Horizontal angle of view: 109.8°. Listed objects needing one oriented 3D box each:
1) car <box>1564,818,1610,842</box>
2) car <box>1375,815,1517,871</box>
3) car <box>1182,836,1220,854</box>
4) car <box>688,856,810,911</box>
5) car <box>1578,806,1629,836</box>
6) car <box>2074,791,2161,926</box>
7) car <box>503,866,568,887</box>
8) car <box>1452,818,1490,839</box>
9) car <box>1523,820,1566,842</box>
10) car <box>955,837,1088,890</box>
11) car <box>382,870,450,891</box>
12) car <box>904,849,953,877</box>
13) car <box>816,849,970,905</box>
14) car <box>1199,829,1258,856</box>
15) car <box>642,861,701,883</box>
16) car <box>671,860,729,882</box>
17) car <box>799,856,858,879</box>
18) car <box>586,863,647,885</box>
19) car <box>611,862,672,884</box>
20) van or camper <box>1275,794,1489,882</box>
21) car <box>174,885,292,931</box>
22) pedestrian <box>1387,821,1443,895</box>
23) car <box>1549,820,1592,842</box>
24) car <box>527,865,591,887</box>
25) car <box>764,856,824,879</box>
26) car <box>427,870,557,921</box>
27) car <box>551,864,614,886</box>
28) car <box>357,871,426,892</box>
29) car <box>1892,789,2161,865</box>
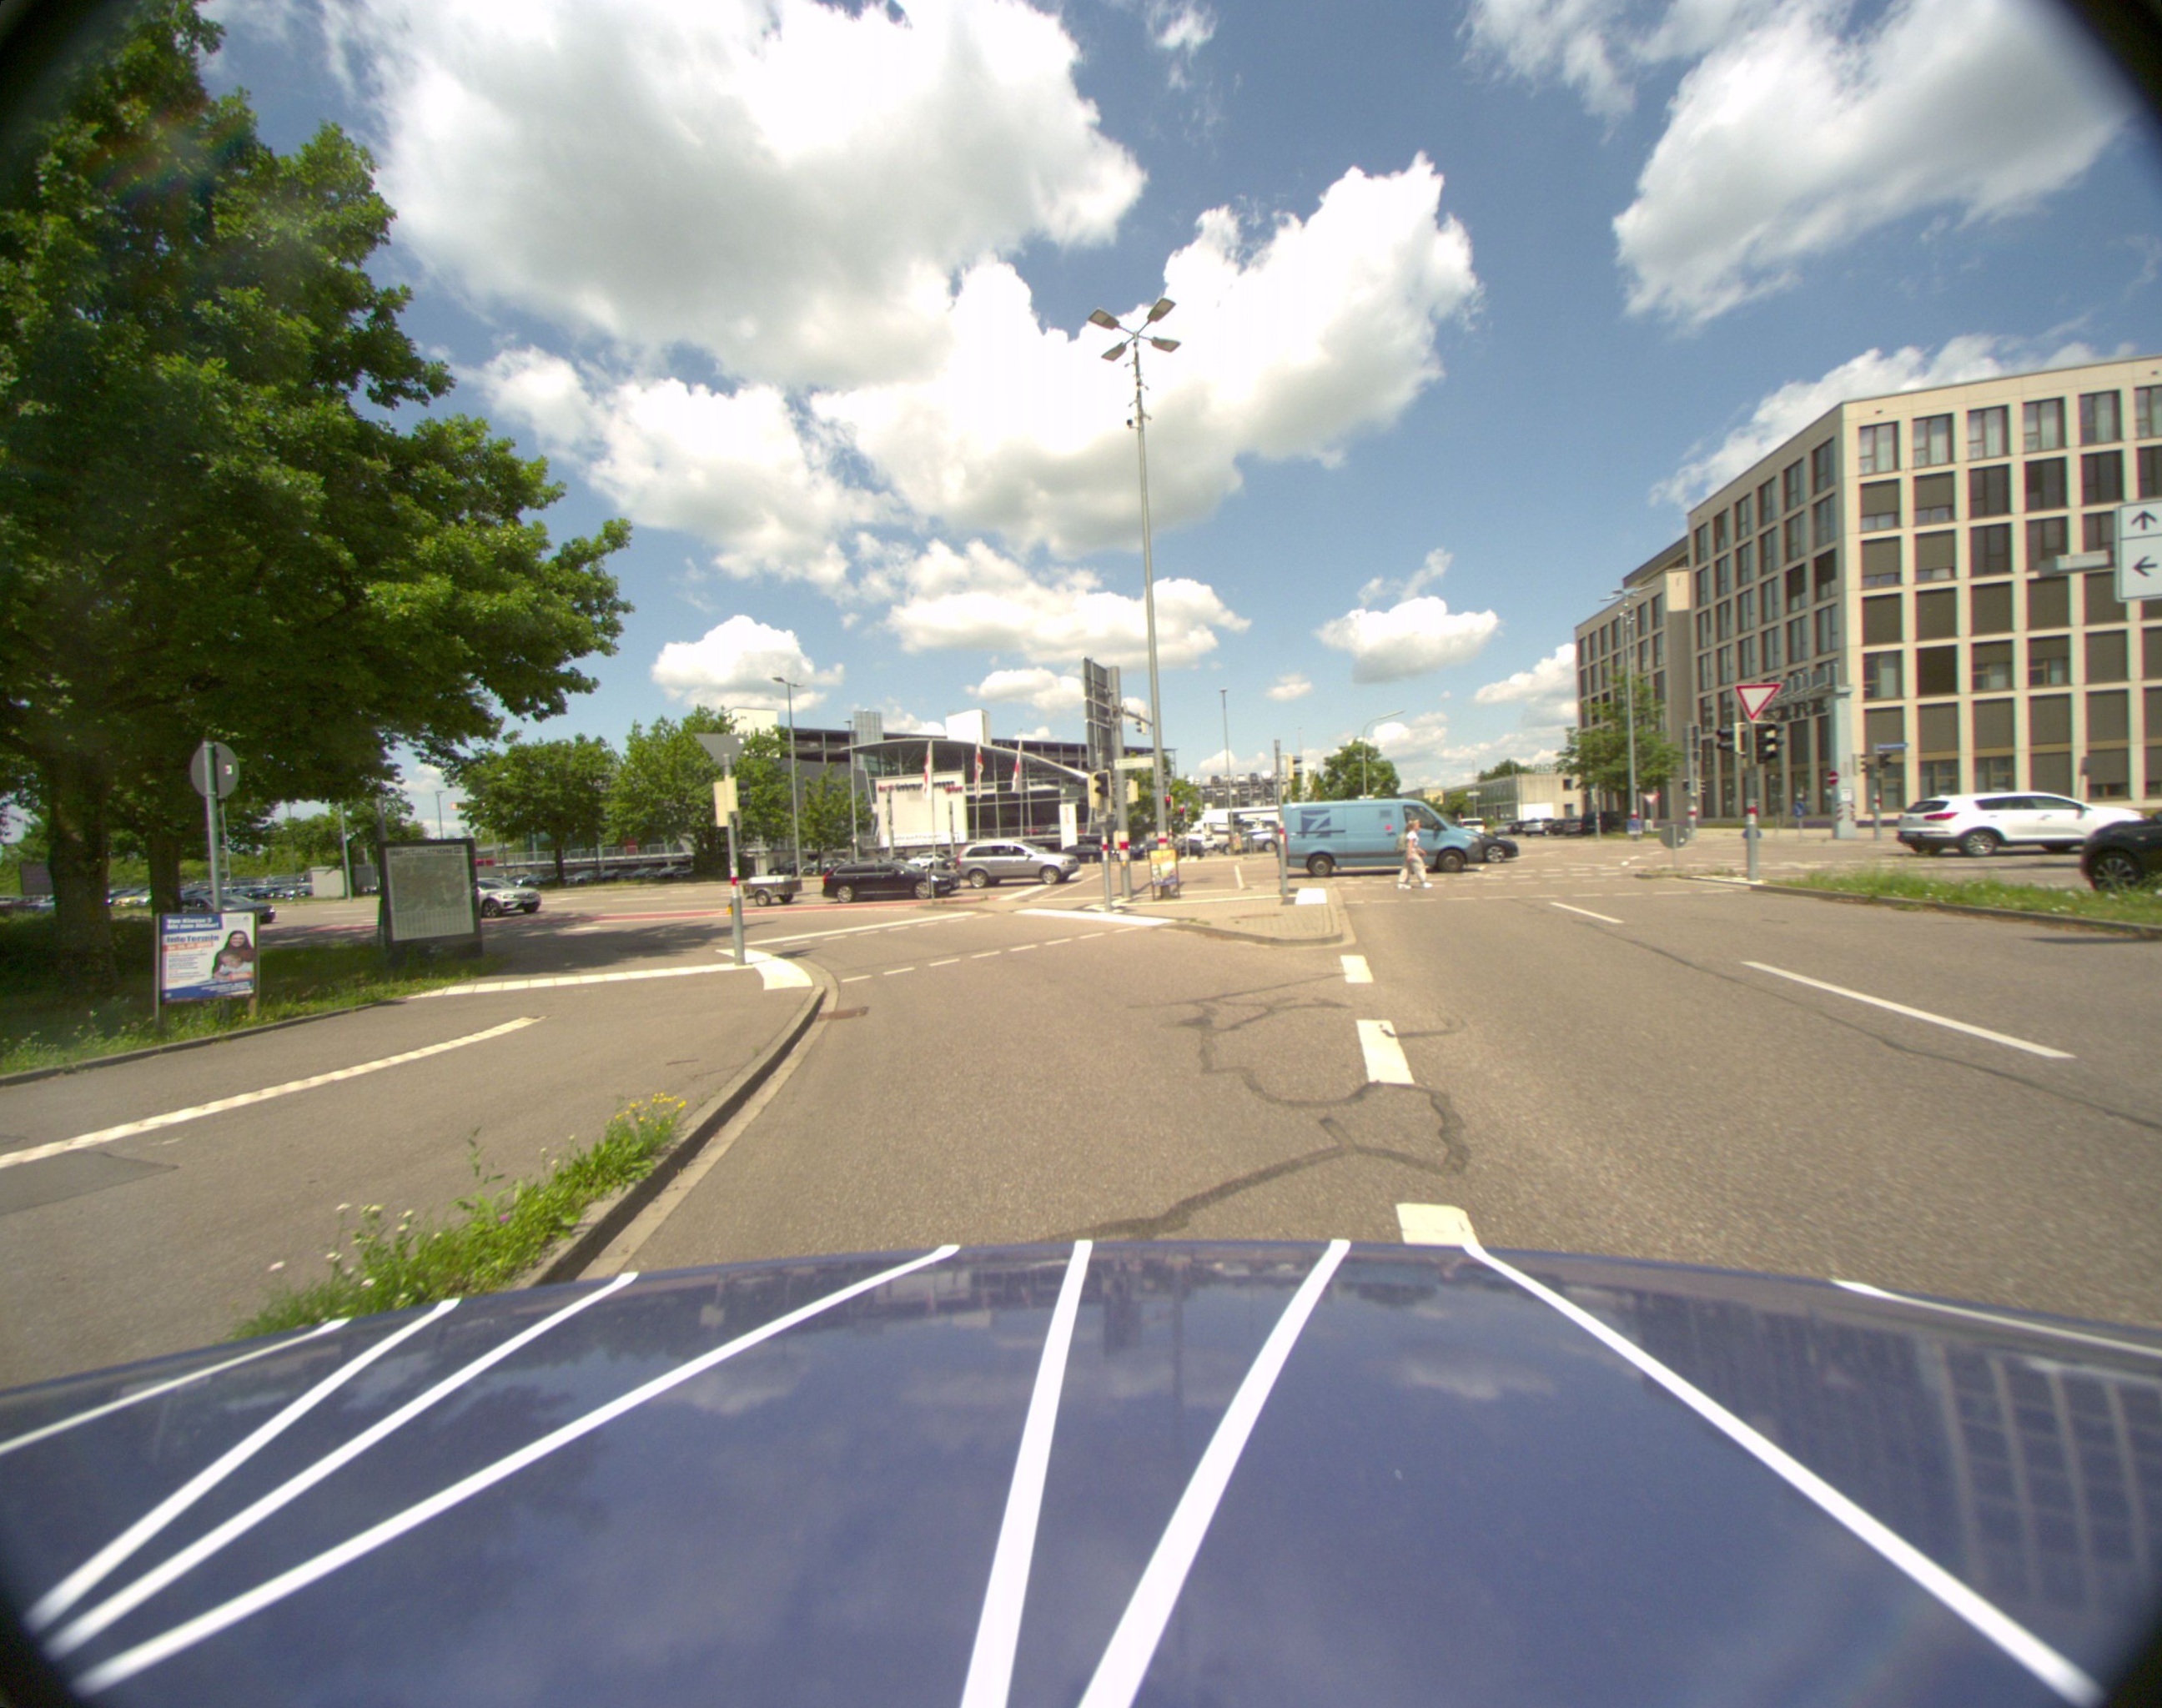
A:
[{"bbox_3d":[41.608,-1.976,62.466,4.189,1.718,1.858,-4,2,-38],"label":"car"},{"bbox_3d":[12.604,-0.390,26.526,4.174,1.718,1.865,-2,2,17],"label":"car"},{"bbox_3d":[13.018,-0.959,82.135,1.994,1.772,4.007,-1,1,45],"label":"car"},{"bbox_3d":[-12.333,1.087,28.306,3.753,1.719,1.674,-3,3,13],"label":"car"},{"bbox_3d":[40.369,-2.551,58.704,4.030,2.080,2.137,-4,2,-39],"label":"car"},{"bbox_3d":[13.620,0.042,7.990,1.794,1.635,4.175,-2,0,18],"label":"car"},{"bbox_3d":[-45.030,1.845,62.827,1.794,1.543,4.004,-2,1,16],"label":"car"},{"bbox_3d":[34.468,-2.297,67.290,2.287,1.709,4.487,-2,2,18],"label":"car"},{"bbox_3d":[41.752,-2.075,68.406,4.189,1.718,1.858,-4,2,-38],"label":"car"},{"bbox_3d":[-2.291,0.360,29.686,4.747,1.718,1.864,-3,2,13],"label":"car"},{"bbox_3d":[-57.305,2.286,65.593,1.794,1.543,4.004,-2,1,16],"label":"car"},{"bbox_3d":[-10.873,0.617,54.413,1.860,1.718,3.763,-3,1,15],"label":"car"},{"bbox_3d":[-6.621,0.794,26.957,4.814,1.571,2.001,-4,2,13],"label":"car"},{"bbox_3d":[10.589,-0.820,54.566,3.993,1.772,2.002,-2,1,14],"label":"car"},{"bbox_3d":[-32.383,1.388,60.208,1.794,1.543,4.004,-2,1,16],"label":"car"},{"bbox_3d":[-29.755,1.295,59.461,1.794,1.543,4.004,-2,1,16],"label":"car"},{"bbox_3d":[-18.573,0.978,56.099,1.793,1.543,4.006,-2,1,26],"label":"car"},{"bbox_3d":[-37.355,1.568,61.222,1.794,1.543,4.004,-2,1,16],"label":"car"},{"bbox_3d":[-35.148,1.487,60.883,1.794,1.543,4.004,-2,1,16],"label":"car"},{"bbox_3d":[9.042,-0.473,23.384,5.840,2.368,2.001,-2,2,13],"label":"van or camper"},{"bbox_3d":[-38.470,2.446,34.518,3.753,1.719,1.864,-3,3,13],"label":"car"},{"bbox_3d":[7.798,0.080,17.764,0.839,1.642,0.972,-3,1,1],"label":"pedestrian"},{"bbox_3d":[42.515,-2.014,65.984,4.189,1.718,1.858,-4,2,-38],"label":"car"},{"bbox_3d":[-42.685,1.762,62.199,1.794,1.543,4.004,-2,1,16],"label":"car"},{"bbox_3d":[-21.380,1.002,56.837,1.793,1.543,4.006,-2,1,26],"label":"car"},{"bbox_3d":[-24.330,1.700,31.438,4.184,1.719,1.864,-3,3,13],"label":"car"},{"bbox_3d":[-40.429,1.681,61.683,1.794,1.543,4.004,-2,1,16],"label":"car"},{"bbox_3d":[-60.194,2.388,66.414,1.794,1.543,4.004,-2,1,16],"label":"car"},{"bbox_3d":[24.885,-0.691,19.698,5.017,1.718,1.865,-2,2,17],"label":"car"}]
